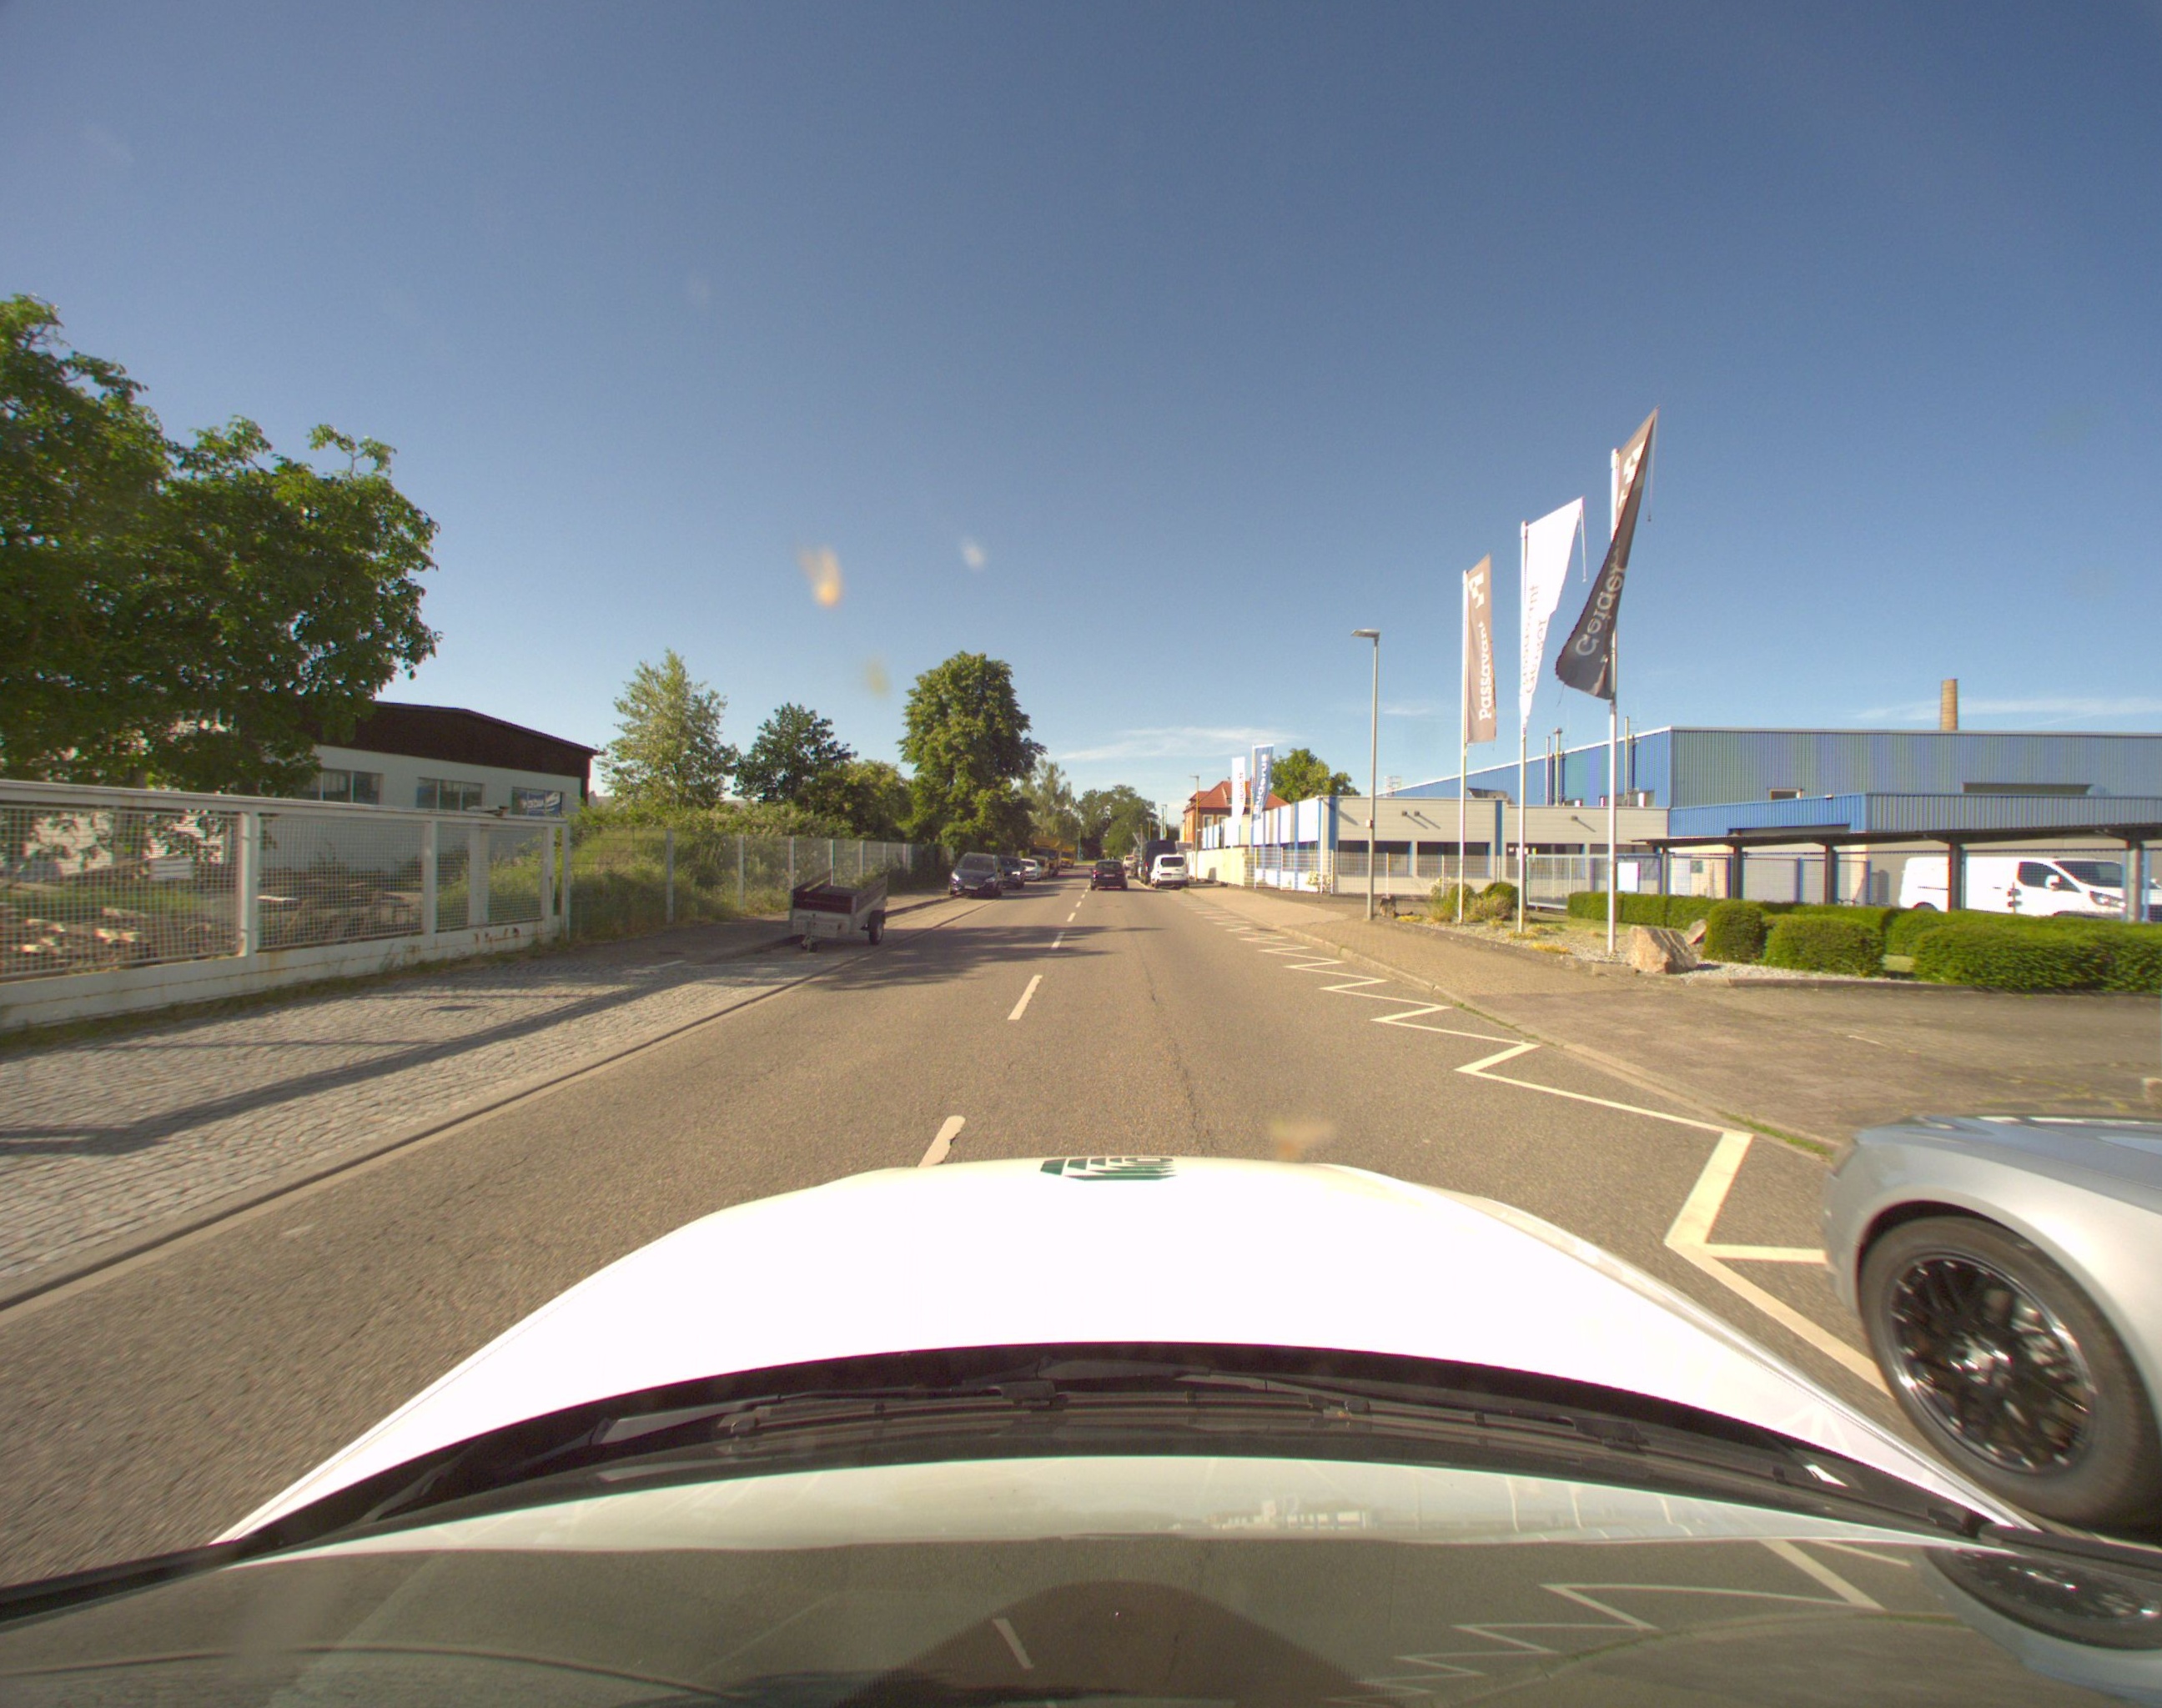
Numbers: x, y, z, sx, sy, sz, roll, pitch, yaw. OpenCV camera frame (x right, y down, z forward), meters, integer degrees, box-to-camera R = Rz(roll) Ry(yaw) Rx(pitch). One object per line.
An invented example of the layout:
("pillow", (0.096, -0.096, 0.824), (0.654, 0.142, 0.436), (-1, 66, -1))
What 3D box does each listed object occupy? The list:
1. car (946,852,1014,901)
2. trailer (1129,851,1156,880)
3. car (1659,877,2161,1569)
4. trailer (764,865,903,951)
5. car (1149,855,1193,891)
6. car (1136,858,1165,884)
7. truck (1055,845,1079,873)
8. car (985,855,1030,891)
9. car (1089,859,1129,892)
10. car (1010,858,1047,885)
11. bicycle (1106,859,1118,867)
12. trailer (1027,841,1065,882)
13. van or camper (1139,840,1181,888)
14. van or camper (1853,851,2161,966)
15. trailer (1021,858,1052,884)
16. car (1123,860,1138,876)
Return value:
("car", (-4.025, 0.864, 33.276), (1.784, 1.730, 4.807), (4, 0, 4))
("trailer", (6.068, 1.140, 81.158), (2.450, 2.673, 5.703), (1, -1, 2))
("car", (3.157, 0.785, 0.627), (1.887, 1.405, 5.125), (3, -1, 2))
("trailer", (-4.453, 0.919, 15.102), (1.471, 1.354, 3.080), (2, -1, 2))
("car", (4.896, 1.048, 44.967), (1.879, 1.798, 5.104), (3, -1, 1))
("car", (5.296, 1.288, 62.643), (1.848, 1.831, 5.170), (3, -1, 2))
("truck", (-1.936, 0.675, 117.798), (2.622, 3.504, 8.661), (7, 1, 2))
("car", (-3.909, 1.003, 43.983), (1.902, 1.662, 4.462), (5, -1, -1))
("car", (1.408, 1.008, 39.799), (1.840, 1.530, 4.002), (0, 0, 3))
("car", (-3.664, 1.210, 57.312), (1.900, 1.593, 5.028), (5, -1, 3))
("bicycle", (5.361, 1.599, 140.218), (0.809, 1.268, 2.235), (3, -1, -33))
("trailer", (-3.069, 0.698, 74.200), (2.981, 3.443, 8.161), (1, -1, 1))
("van or camper", (4.916, 0.626, 51.420), (2.132, 2.759, 6.163), (3, -1, 2))
("van or camper", (23.224, 1.235, 20.337), (2.091, 2.382, 6.521), (2, -1, 4))
("trailer", (-3.391, 1.282, 63.280), (1.986, 1.942, 4.417), (0, -1, 2))
("car", (6.774, 1.955, 111.472), (1.867, 2.014, 5.163), (3, -1, 2))
